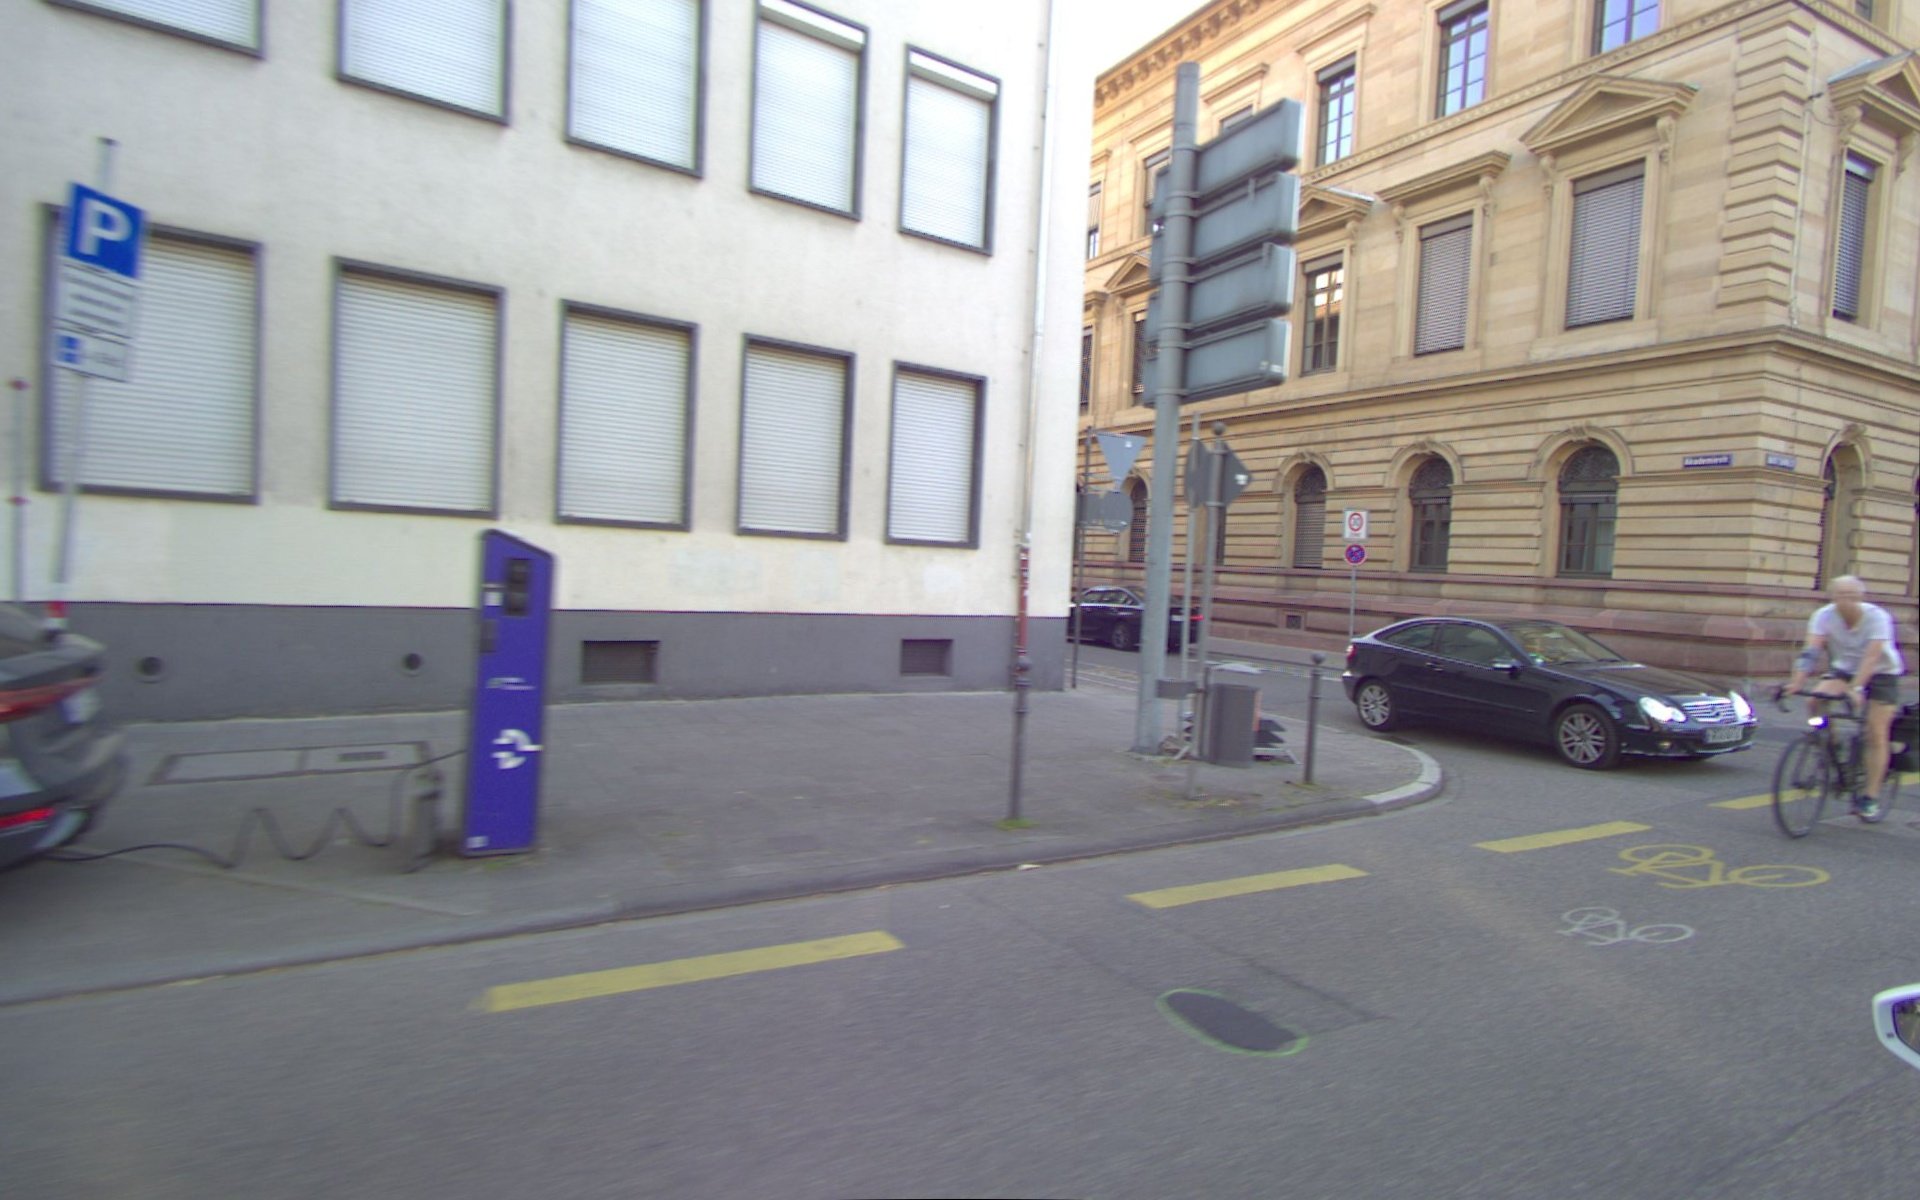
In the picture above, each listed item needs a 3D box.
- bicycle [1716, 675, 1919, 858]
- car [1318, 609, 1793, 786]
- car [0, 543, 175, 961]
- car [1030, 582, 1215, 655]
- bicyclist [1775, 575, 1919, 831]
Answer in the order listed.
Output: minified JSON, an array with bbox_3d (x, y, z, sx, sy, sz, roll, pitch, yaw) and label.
[{"bbox_3d":[6.154,1.090,6.989,2.103,1.049,0.580,1,1,-29],"label":"bicycle"},{"bbox_3d":[6.234,0.896,11.152,1.751,1.408,4.301,1,1,-24],"label":"car"},{"bbox_3d":[-5.728,0.504,3.385,4.711,1.524,1.812,1,3,-35],"label":"car"},{"bbox_3d":[3.668,0.376,23.493,1.757,1.480,4.429,1,1,-33],"label":"car"},{"bbox_3d":[6.315,0.686,7.064,0.824,1.689,0.564,1,1,-28],"label":"bicyclist"}]
